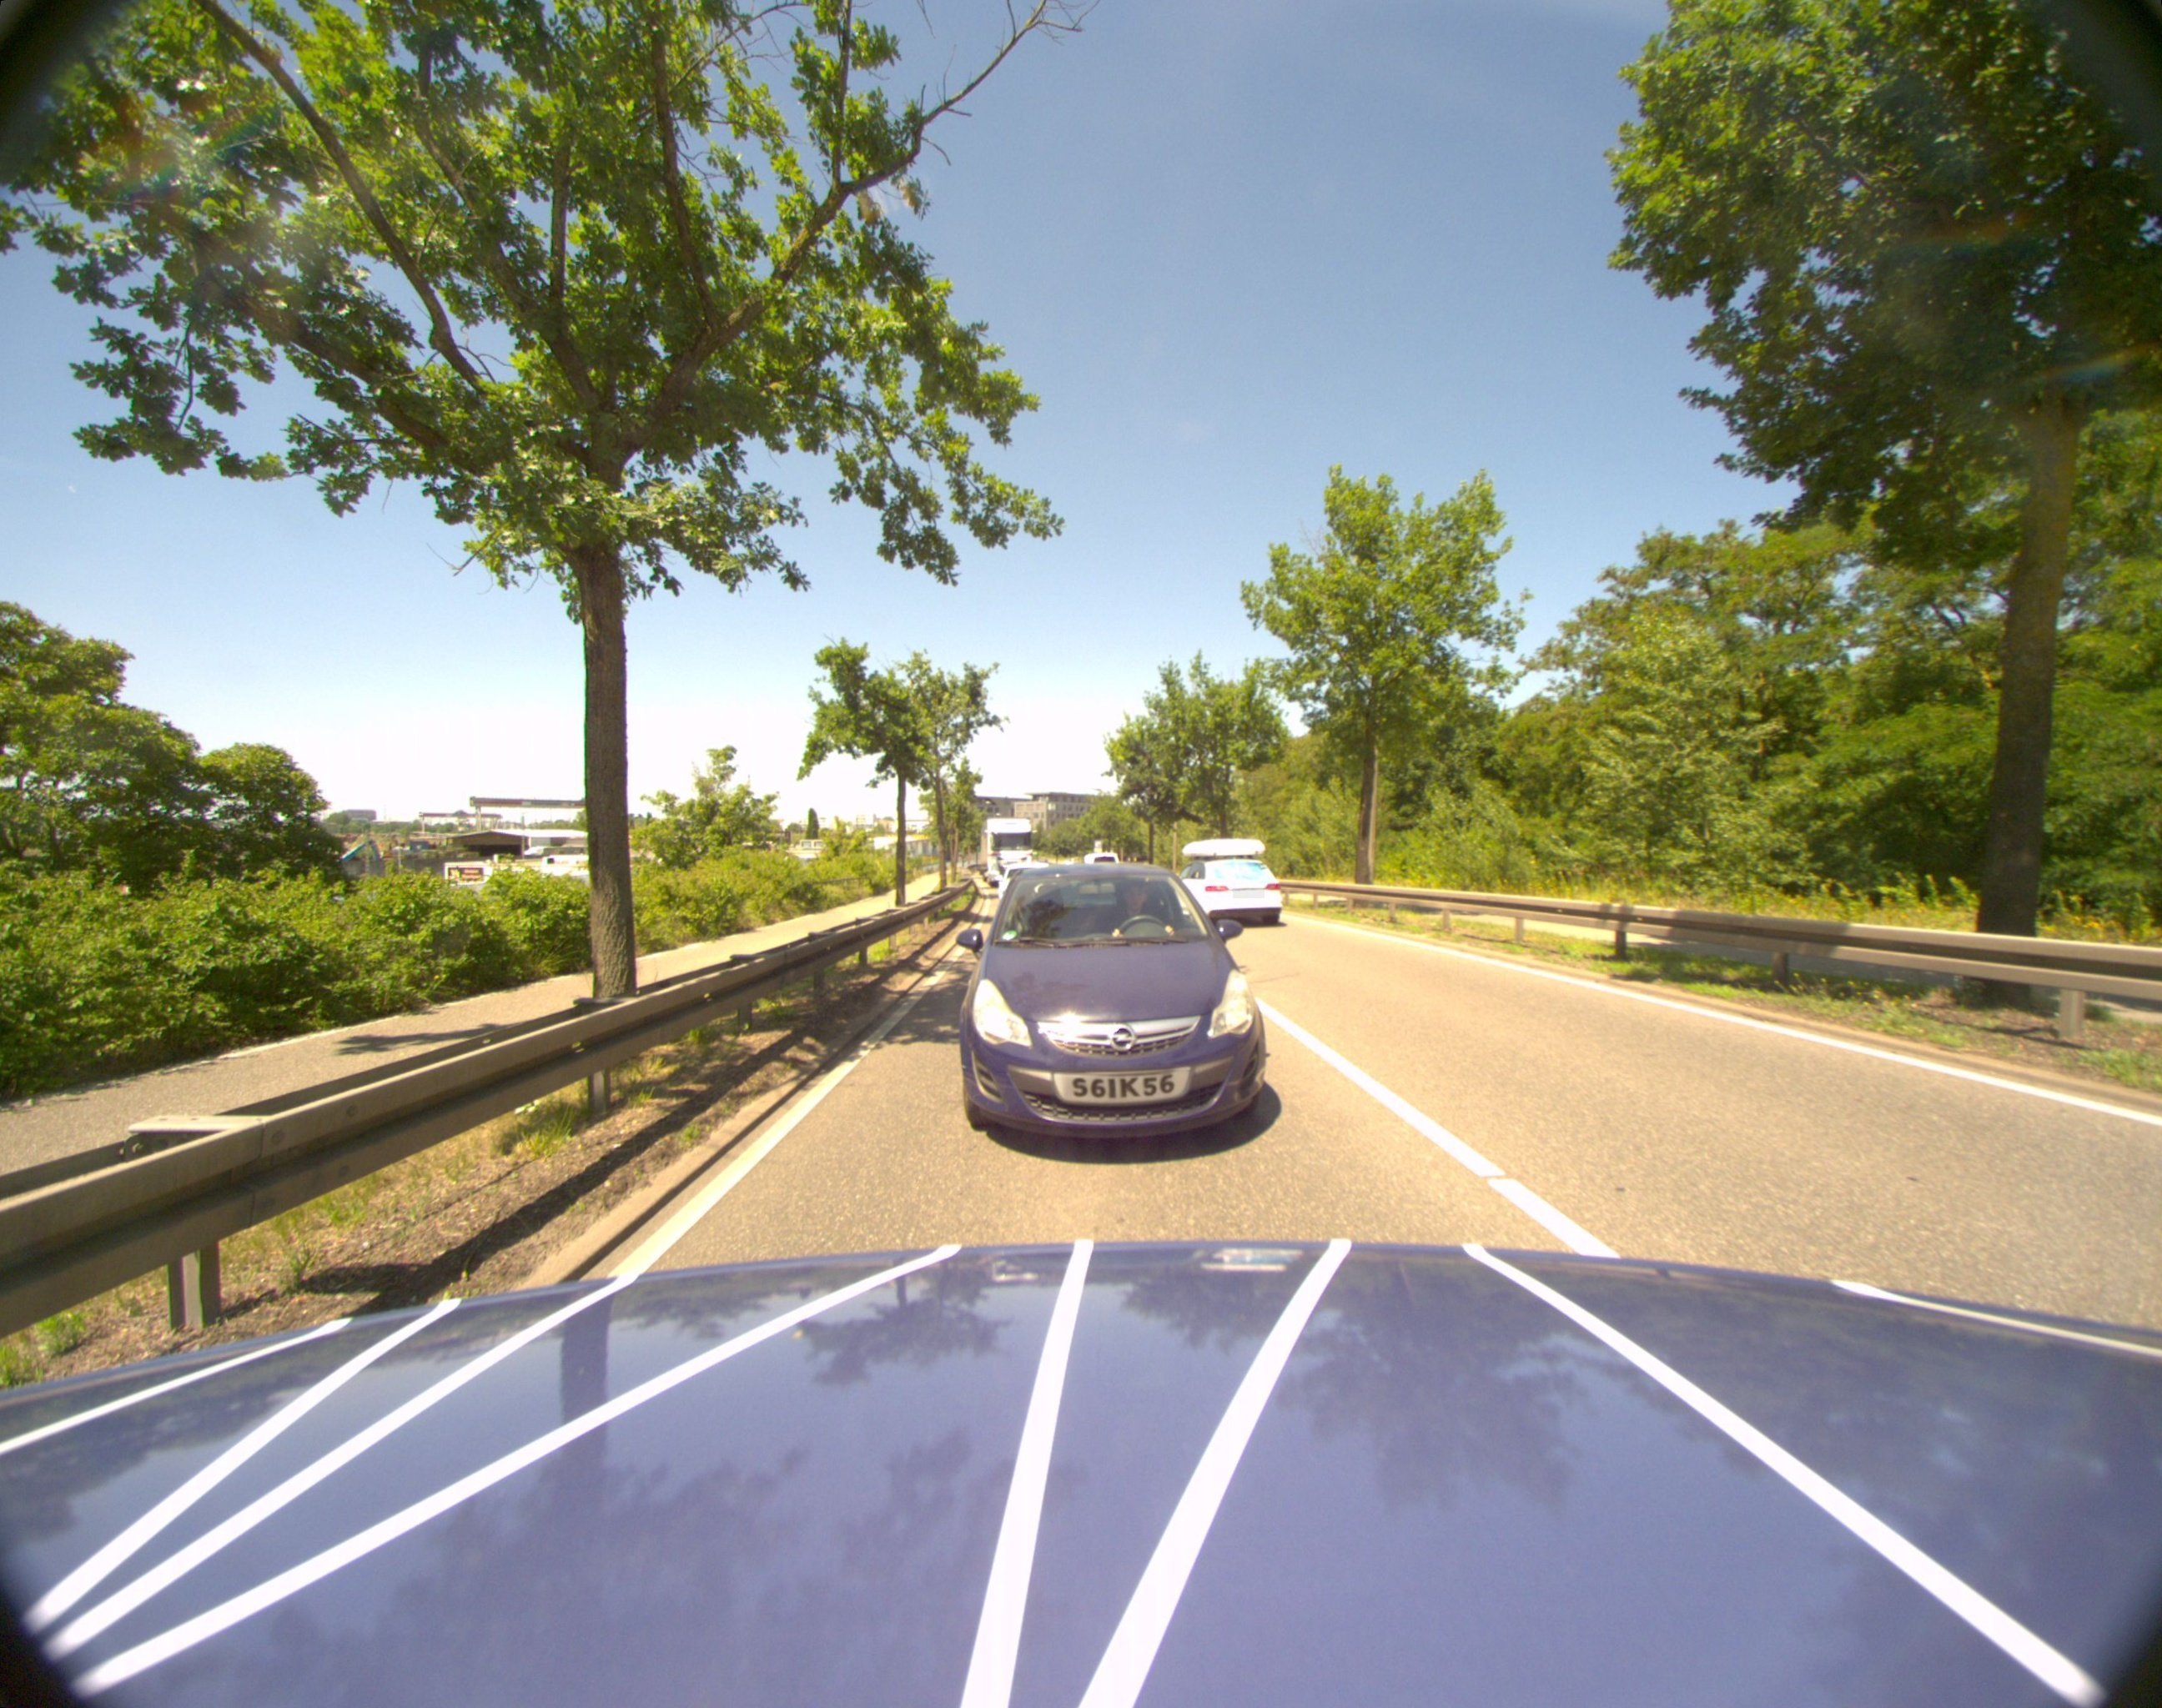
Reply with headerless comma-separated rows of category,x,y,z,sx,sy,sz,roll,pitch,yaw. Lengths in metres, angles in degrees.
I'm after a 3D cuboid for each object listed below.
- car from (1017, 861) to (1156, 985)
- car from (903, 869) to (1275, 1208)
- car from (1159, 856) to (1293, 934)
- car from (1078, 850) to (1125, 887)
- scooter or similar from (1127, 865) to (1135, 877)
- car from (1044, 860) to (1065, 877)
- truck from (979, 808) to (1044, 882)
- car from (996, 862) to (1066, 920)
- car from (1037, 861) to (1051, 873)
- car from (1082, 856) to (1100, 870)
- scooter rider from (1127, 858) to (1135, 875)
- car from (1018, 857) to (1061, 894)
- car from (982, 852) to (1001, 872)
car,0.066,0.922,11.911,1.780,1.498,3.896,-2,0,0
car,0.012,0.913,5.534,1.720,1.455,3.837,-2,0,-1
car,3.075,0.801,17.082,1.824,1.413,4.464,-2,0,-4
car,1.010,0.701,39.913,1.751,1.753,4.385,-2,0,-8
scooter or similar,5.108,1.723,77.277,0.779,1.085,1.095,-2,1,2
car,-2.473,1.311,69.349,1.561,1.364,3.886,-2,0,-7
truck,-5.070,-0.528,51.652,3.073,4.146,16.896,-2,0,-9
car,-1.421,0.983,21.748,1.781,1.398,3.998,-2,0,-4
car,-7.010,2.476,144.269,1.779,2.002,4.002,-2,0,9
car,1.236,1.081,94.286,1.753,1.546,4.128,-2,0,7
scooter rider,5.081,1.240,77.254,0.779,1.648,1.121,-2,1,3
car,-2.027,0.968,36.197,1.781,1.569,3.997,-2,0,-6
car,-9.287,0.812,78.800,1.781,2.002,3.997,-2,0,-8
